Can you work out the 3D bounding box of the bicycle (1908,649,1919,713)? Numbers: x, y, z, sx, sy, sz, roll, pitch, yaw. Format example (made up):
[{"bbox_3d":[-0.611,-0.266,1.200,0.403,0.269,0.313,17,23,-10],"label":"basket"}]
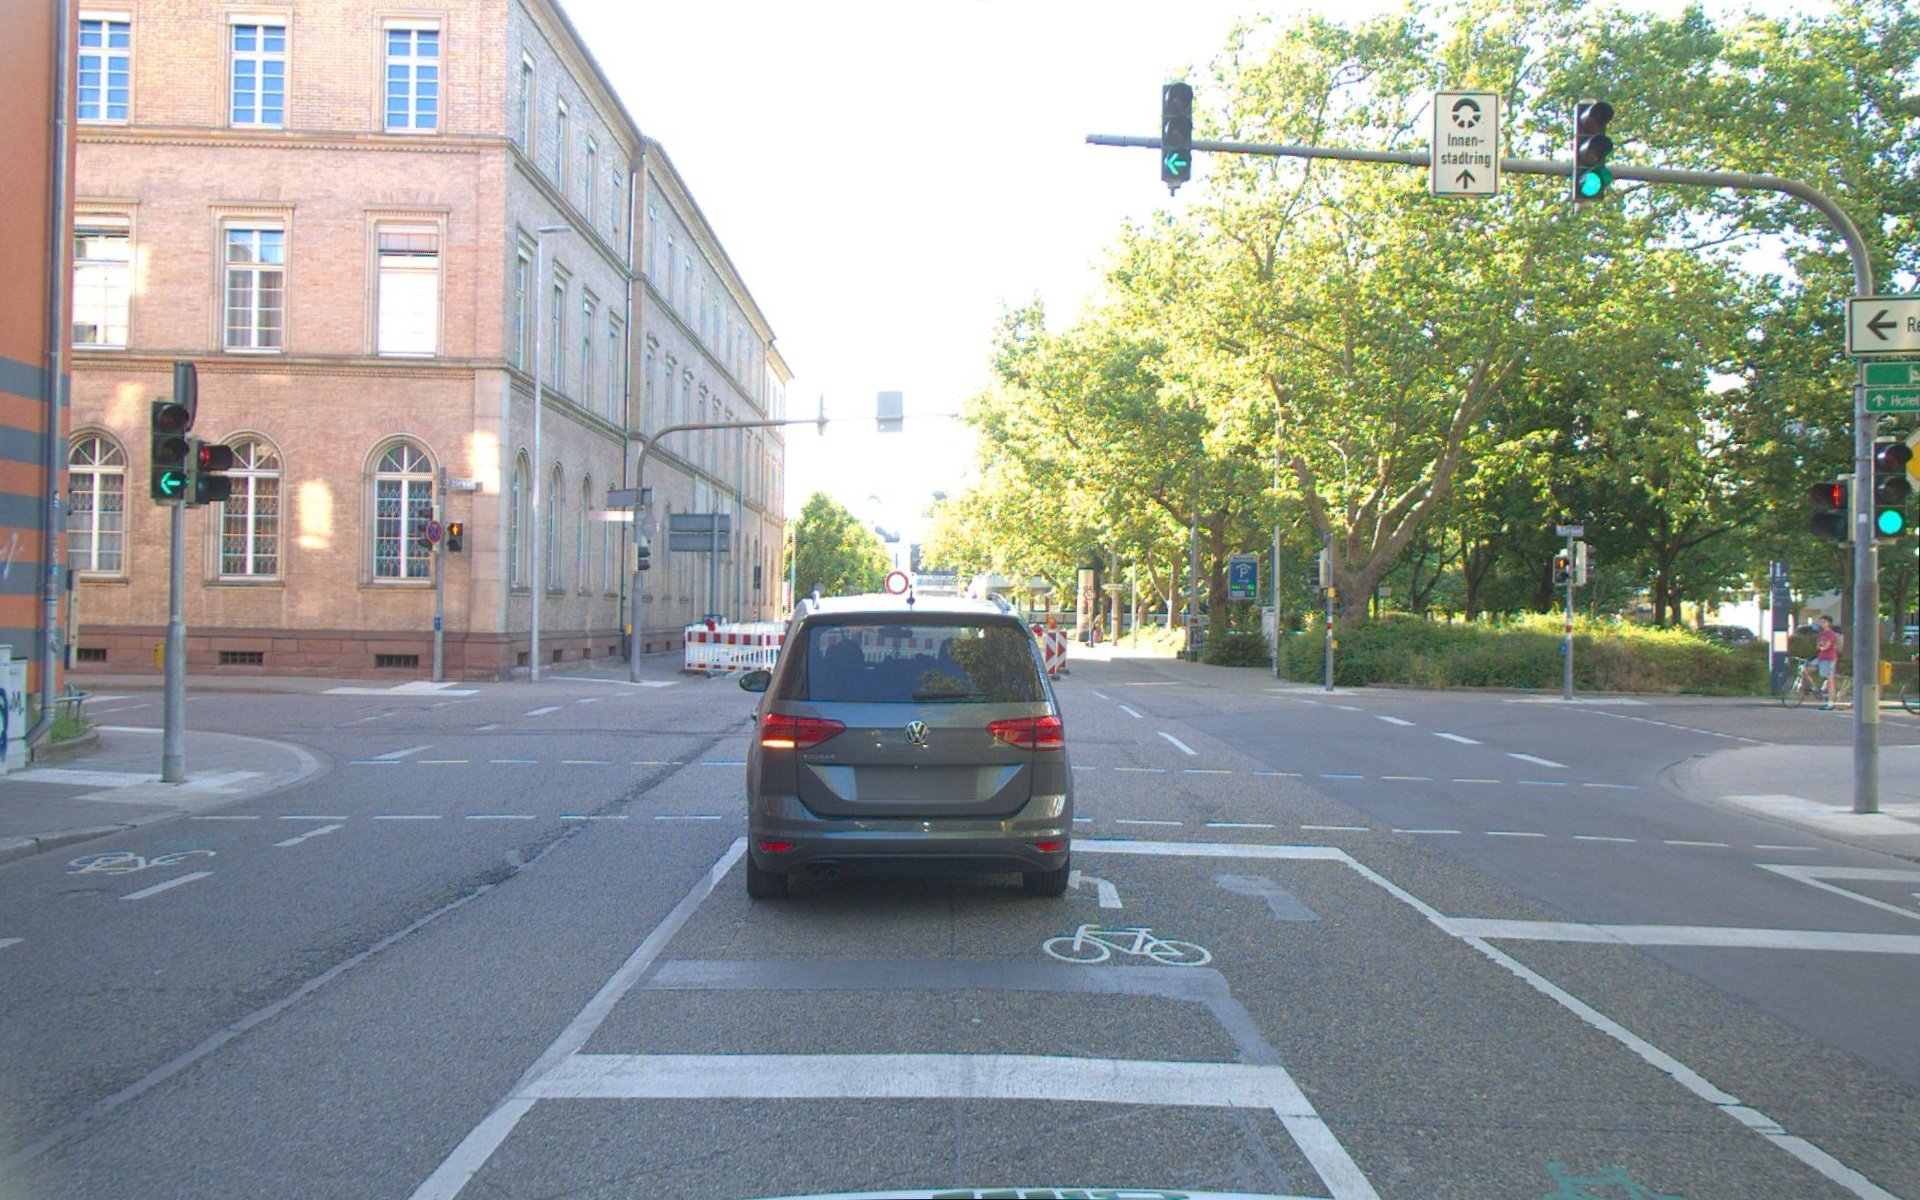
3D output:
[{"bbox_3d":[16.884,1.396,28.426,0.961,1.070,2.655,-1,-3,29],"label":"bicycle"}]

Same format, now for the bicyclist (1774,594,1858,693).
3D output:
[{"bbox_3d":[16.447,0.830,31.800,1.105,1.839,0.977,1,-1,-3],"label":"bicyclist"}]

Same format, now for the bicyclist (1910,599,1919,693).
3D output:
[{"bbox_3d":[16.834,0.776,28.357,0.932,1.572,1.124,0,1,30],"label":"bicyclist"}]

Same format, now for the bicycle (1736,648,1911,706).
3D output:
[{"bbox_3d":[16.600,1.478,31.817,2.937,1.056,0.942,1,-1,-4],"label":"bicycle"}]

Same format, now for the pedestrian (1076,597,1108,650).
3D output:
[{"bbox_3d":[6.840,1.213,85.499,1.393,2.714,1.145,1,-1,-10],"label":"pedestrian"}]

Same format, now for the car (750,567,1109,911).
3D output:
[{"bbox_3d":[-0.371,0.687,9.983,1.728,1.635,3.994,1,0,-7],"label":"car"}]

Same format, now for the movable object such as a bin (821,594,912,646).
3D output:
[{"bbox_3d":[-5.275,1.124,92.669,4.755,2.825,2.459,0,-1,42],"label":"movable object such as a bin"}]
